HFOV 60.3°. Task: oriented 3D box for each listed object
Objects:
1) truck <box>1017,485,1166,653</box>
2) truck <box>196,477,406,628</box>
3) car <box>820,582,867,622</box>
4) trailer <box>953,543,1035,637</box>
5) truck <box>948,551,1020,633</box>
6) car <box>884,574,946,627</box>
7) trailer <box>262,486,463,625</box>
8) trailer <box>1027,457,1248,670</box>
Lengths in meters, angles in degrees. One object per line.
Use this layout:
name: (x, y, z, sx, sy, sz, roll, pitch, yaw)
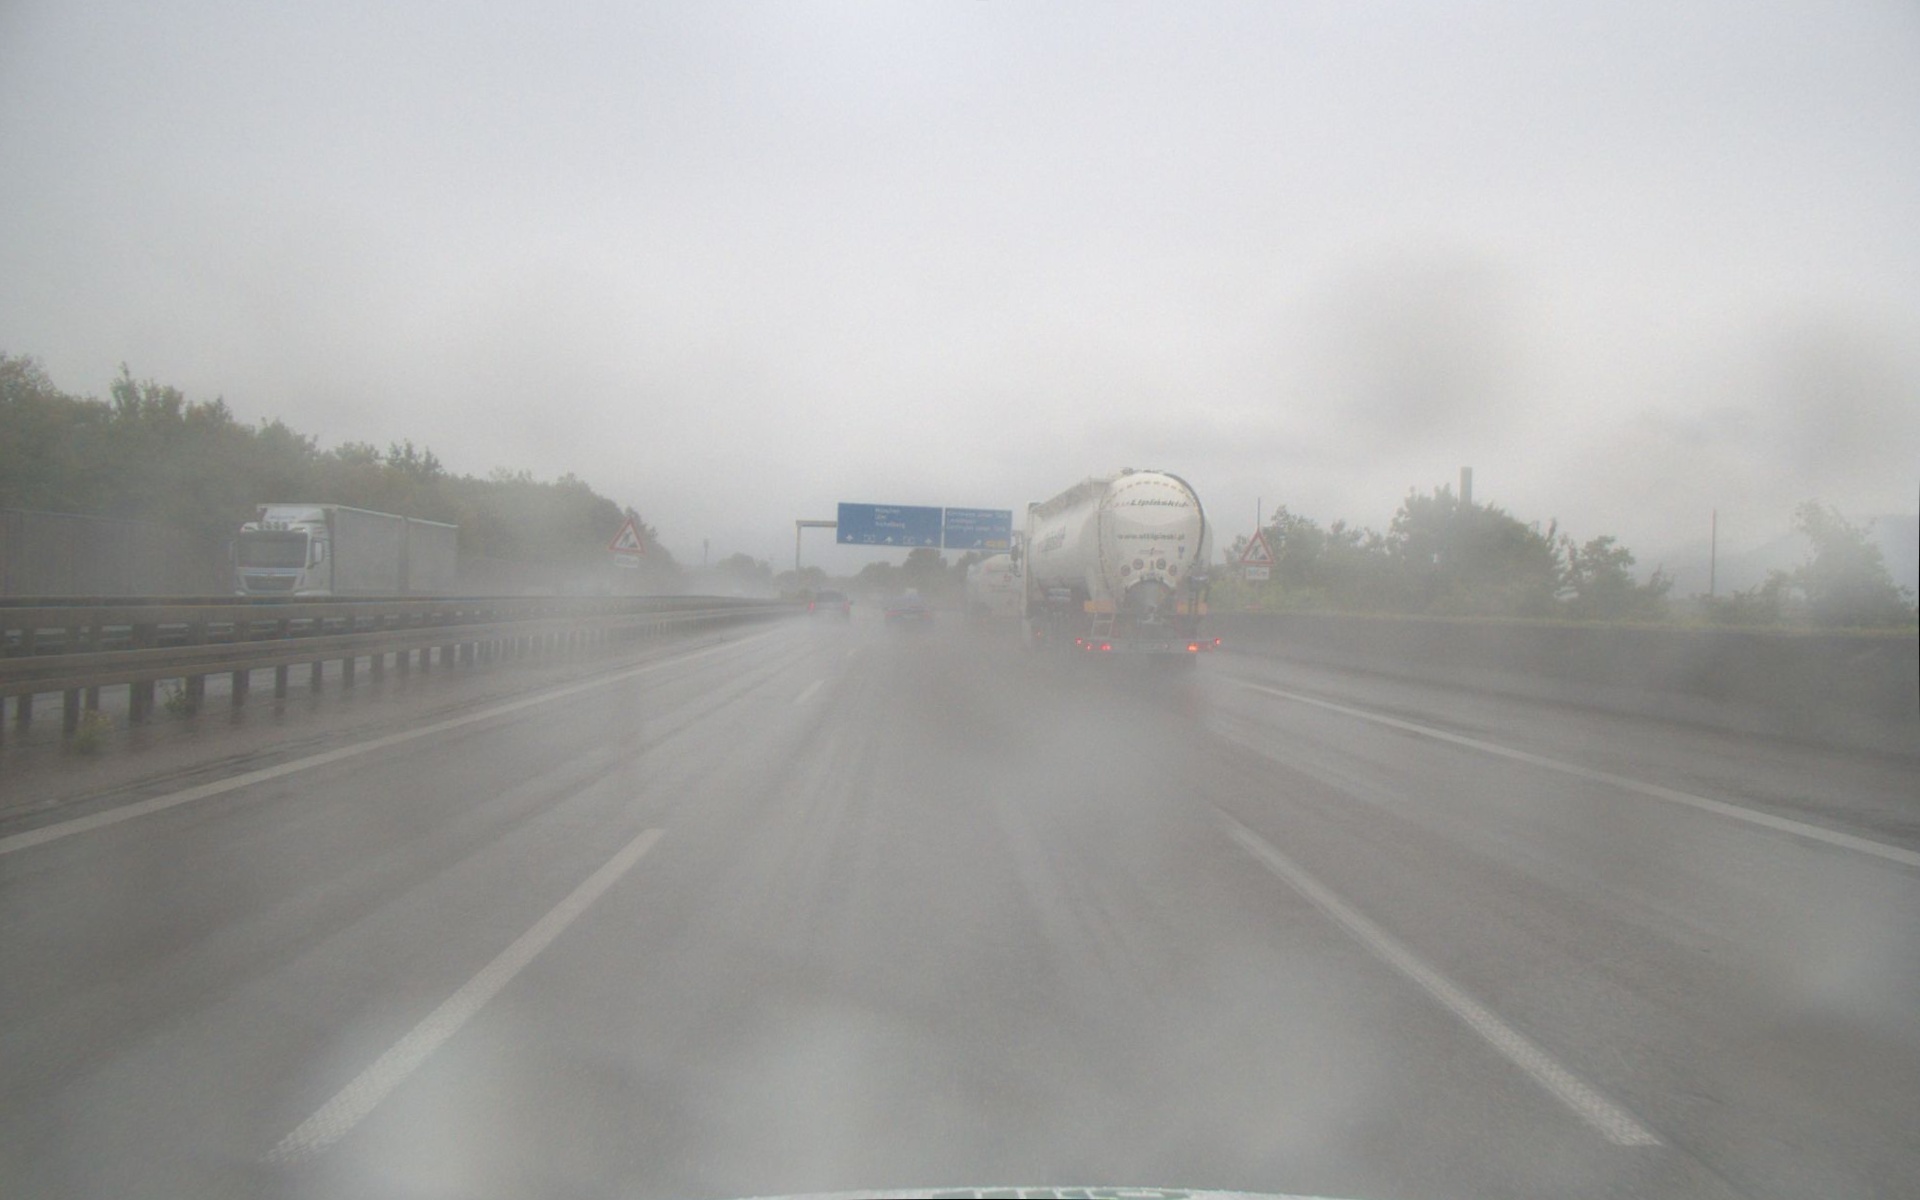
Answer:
truck: (3.217, -0.741, 42.534, 3.042, 3.873, 7.210, 1, 0, -1)
truck: (-22.392, -1.517, 56.964, 3.759, 4.720, 9.487, 1, 0, -3)
car: (-5.341, 0.082, 76.382, 1.886, 1.771, 4.403, 1, 0, -1)
trailer: (1.399, -0.432, 73.636, 2.945, 3.915, 8.617, 1, 0, -4)
truck: (1.088, -0.376, 78.869, 2.885, 3.748, 6.356, 1, 0, -4)
car: (-1.568, -0.003, 59.265, 1.937, 1.787, 4.482, 1, 1, 2)
trailer: (-22.729, -1.577, 63.917, 3.792, 4.777, 12.236, 1, 0, -3)
trailer: (3.407, -0.674, 35.338, 3.124, 3.734, 11.663, 1, 0, -1)
